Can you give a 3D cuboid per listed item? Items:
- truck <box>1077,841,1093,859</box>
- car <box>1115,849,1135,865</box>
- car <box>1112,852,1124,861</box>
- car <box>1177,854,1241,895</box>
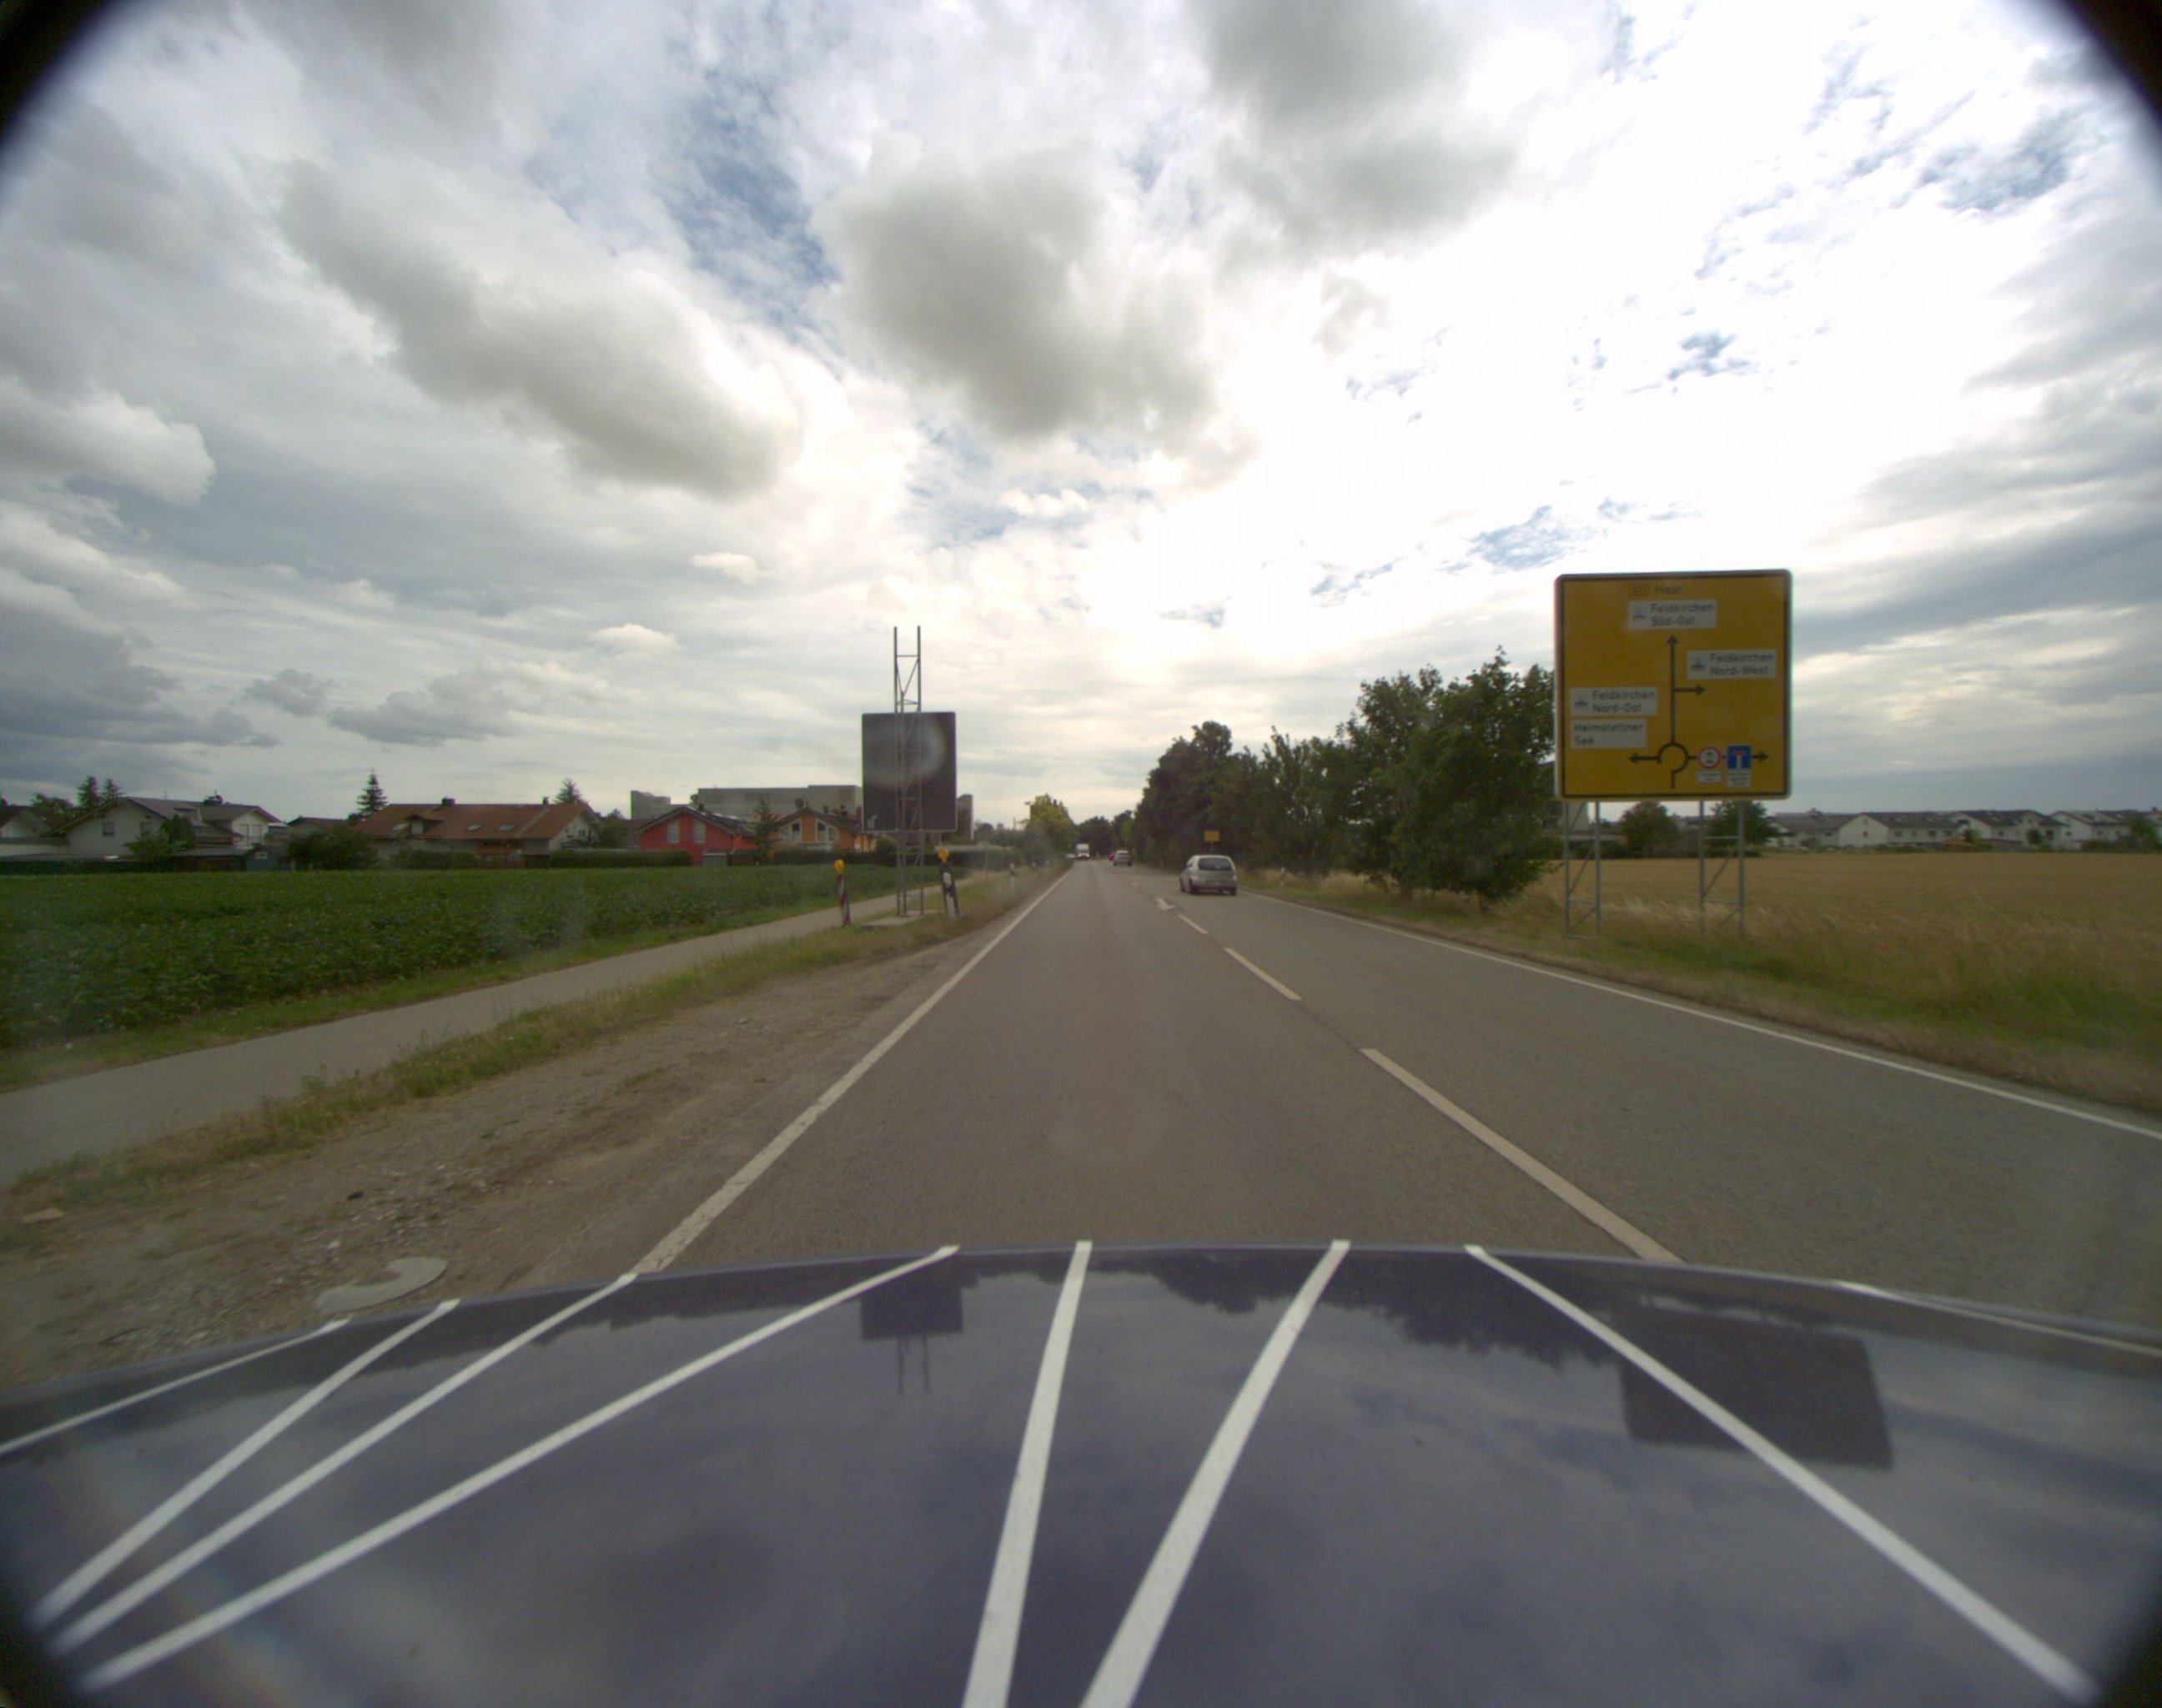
[{"bbox_3d":[0.854,-0.717,151.496,2.613,3.428,7.508,-2,0,4],"label":"truck"},{"bbox_3d":[4.997,0.331,86.627,1.998,1.674,4.809,1,0,1],"label":"car"},{"bbox_3d":[6.777,0.515,140.313,1.945,1.577,4.554,1,1,-1],"label":"car"},{"bbox_3d":[4.616,0.692,27.919,1.733,1.355,3.949,0,1,1],"label":"car"}]
